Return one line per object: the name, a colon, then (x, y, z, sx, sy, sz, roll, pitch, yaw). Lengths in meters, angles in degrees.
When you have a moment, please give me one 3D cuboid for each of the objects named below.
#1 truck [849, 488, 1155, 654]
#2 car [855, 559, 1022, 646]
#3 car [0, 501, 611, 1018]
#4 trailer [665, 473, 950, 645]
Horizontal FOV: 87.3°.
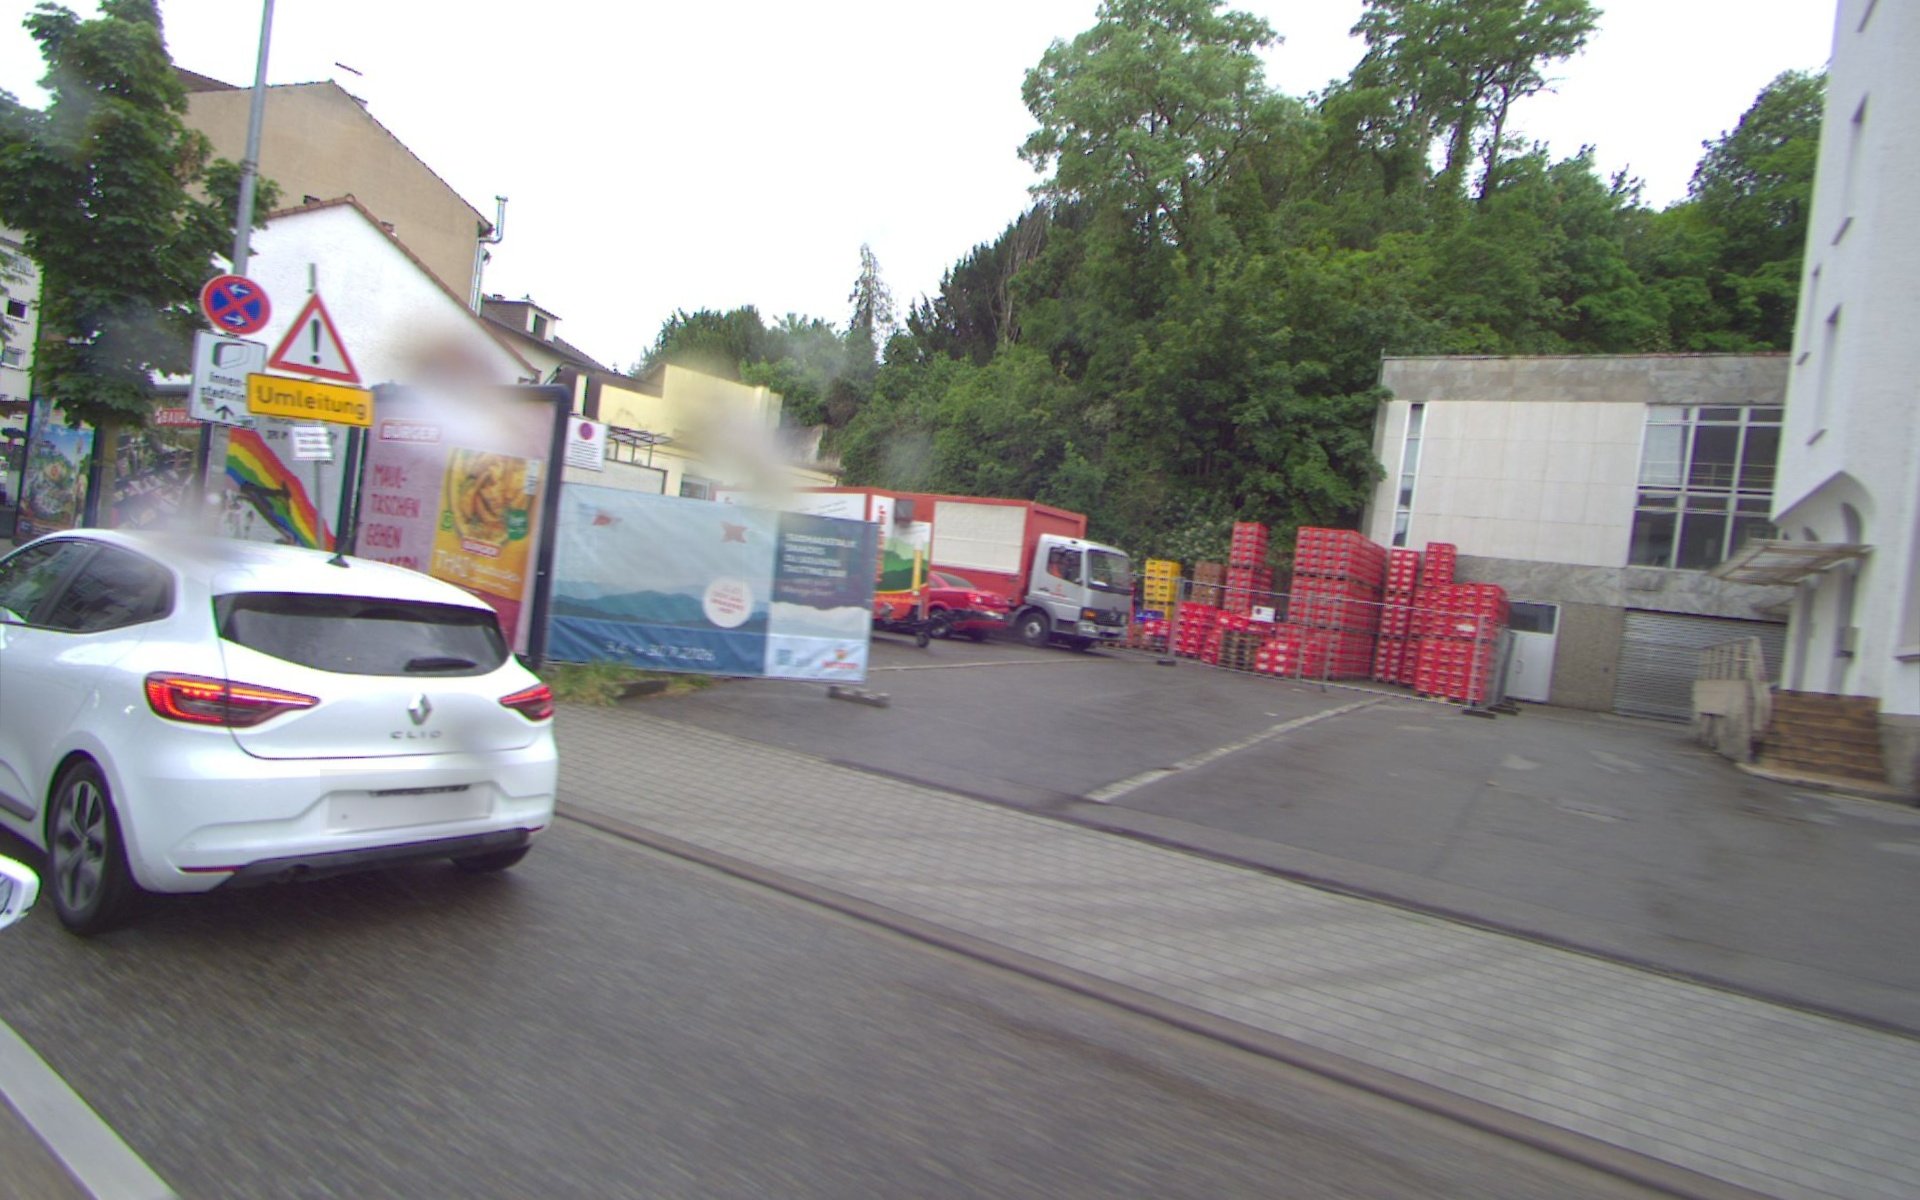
truck: (0.851, -0.778, 24.287, 6.821, 3.258, 2.630, 7, 2, 36)
car: (-0.493, 0.051, 21.787, 3.214, 1.475, 1.589, 7, 1, 36)
car: (-3.679, 0.403, 4.810, 3.802, 1.414, 1.666, 8, 2, 31)
trailer: (-3.092, -0.849, 19.731, 5.304, 2.753, 2.126, 8, 3, 34)
